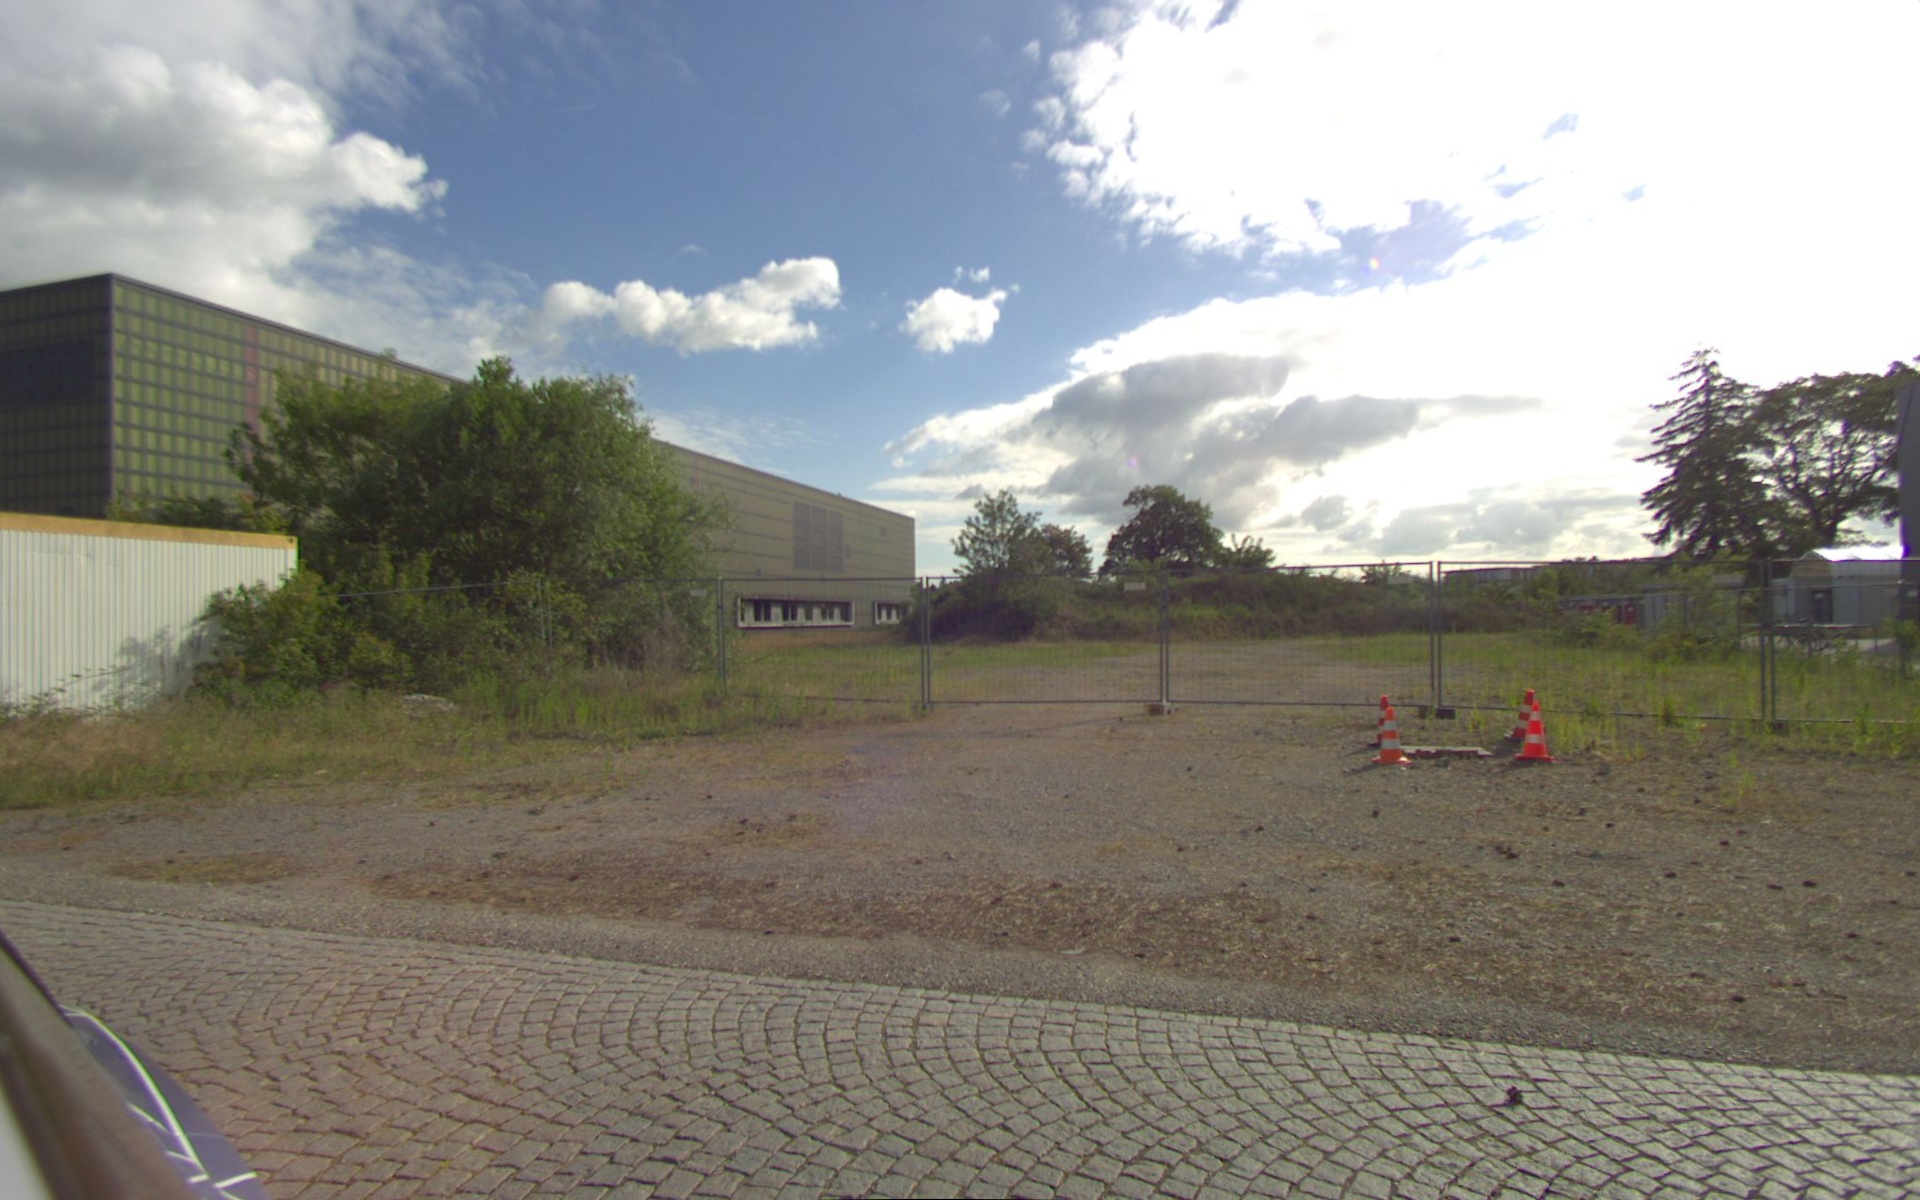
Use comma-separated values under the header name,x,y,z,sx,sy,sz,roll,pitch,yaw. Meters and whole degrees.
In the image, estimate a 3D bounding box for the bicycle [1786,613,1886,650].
name,x,y,z,sx,sy,sz,roll,pitch,yaw
bicycle,26.604,0.960,30.783,2.049,1.095,0.942,-1,-2,14

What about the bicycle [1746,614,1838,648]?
name,x,y,z,sx,sy,sz,roll,pitch,yaw
bicycle,27.085,1.018,32.984,2.049,1.052,0.942,-1,-2,14
